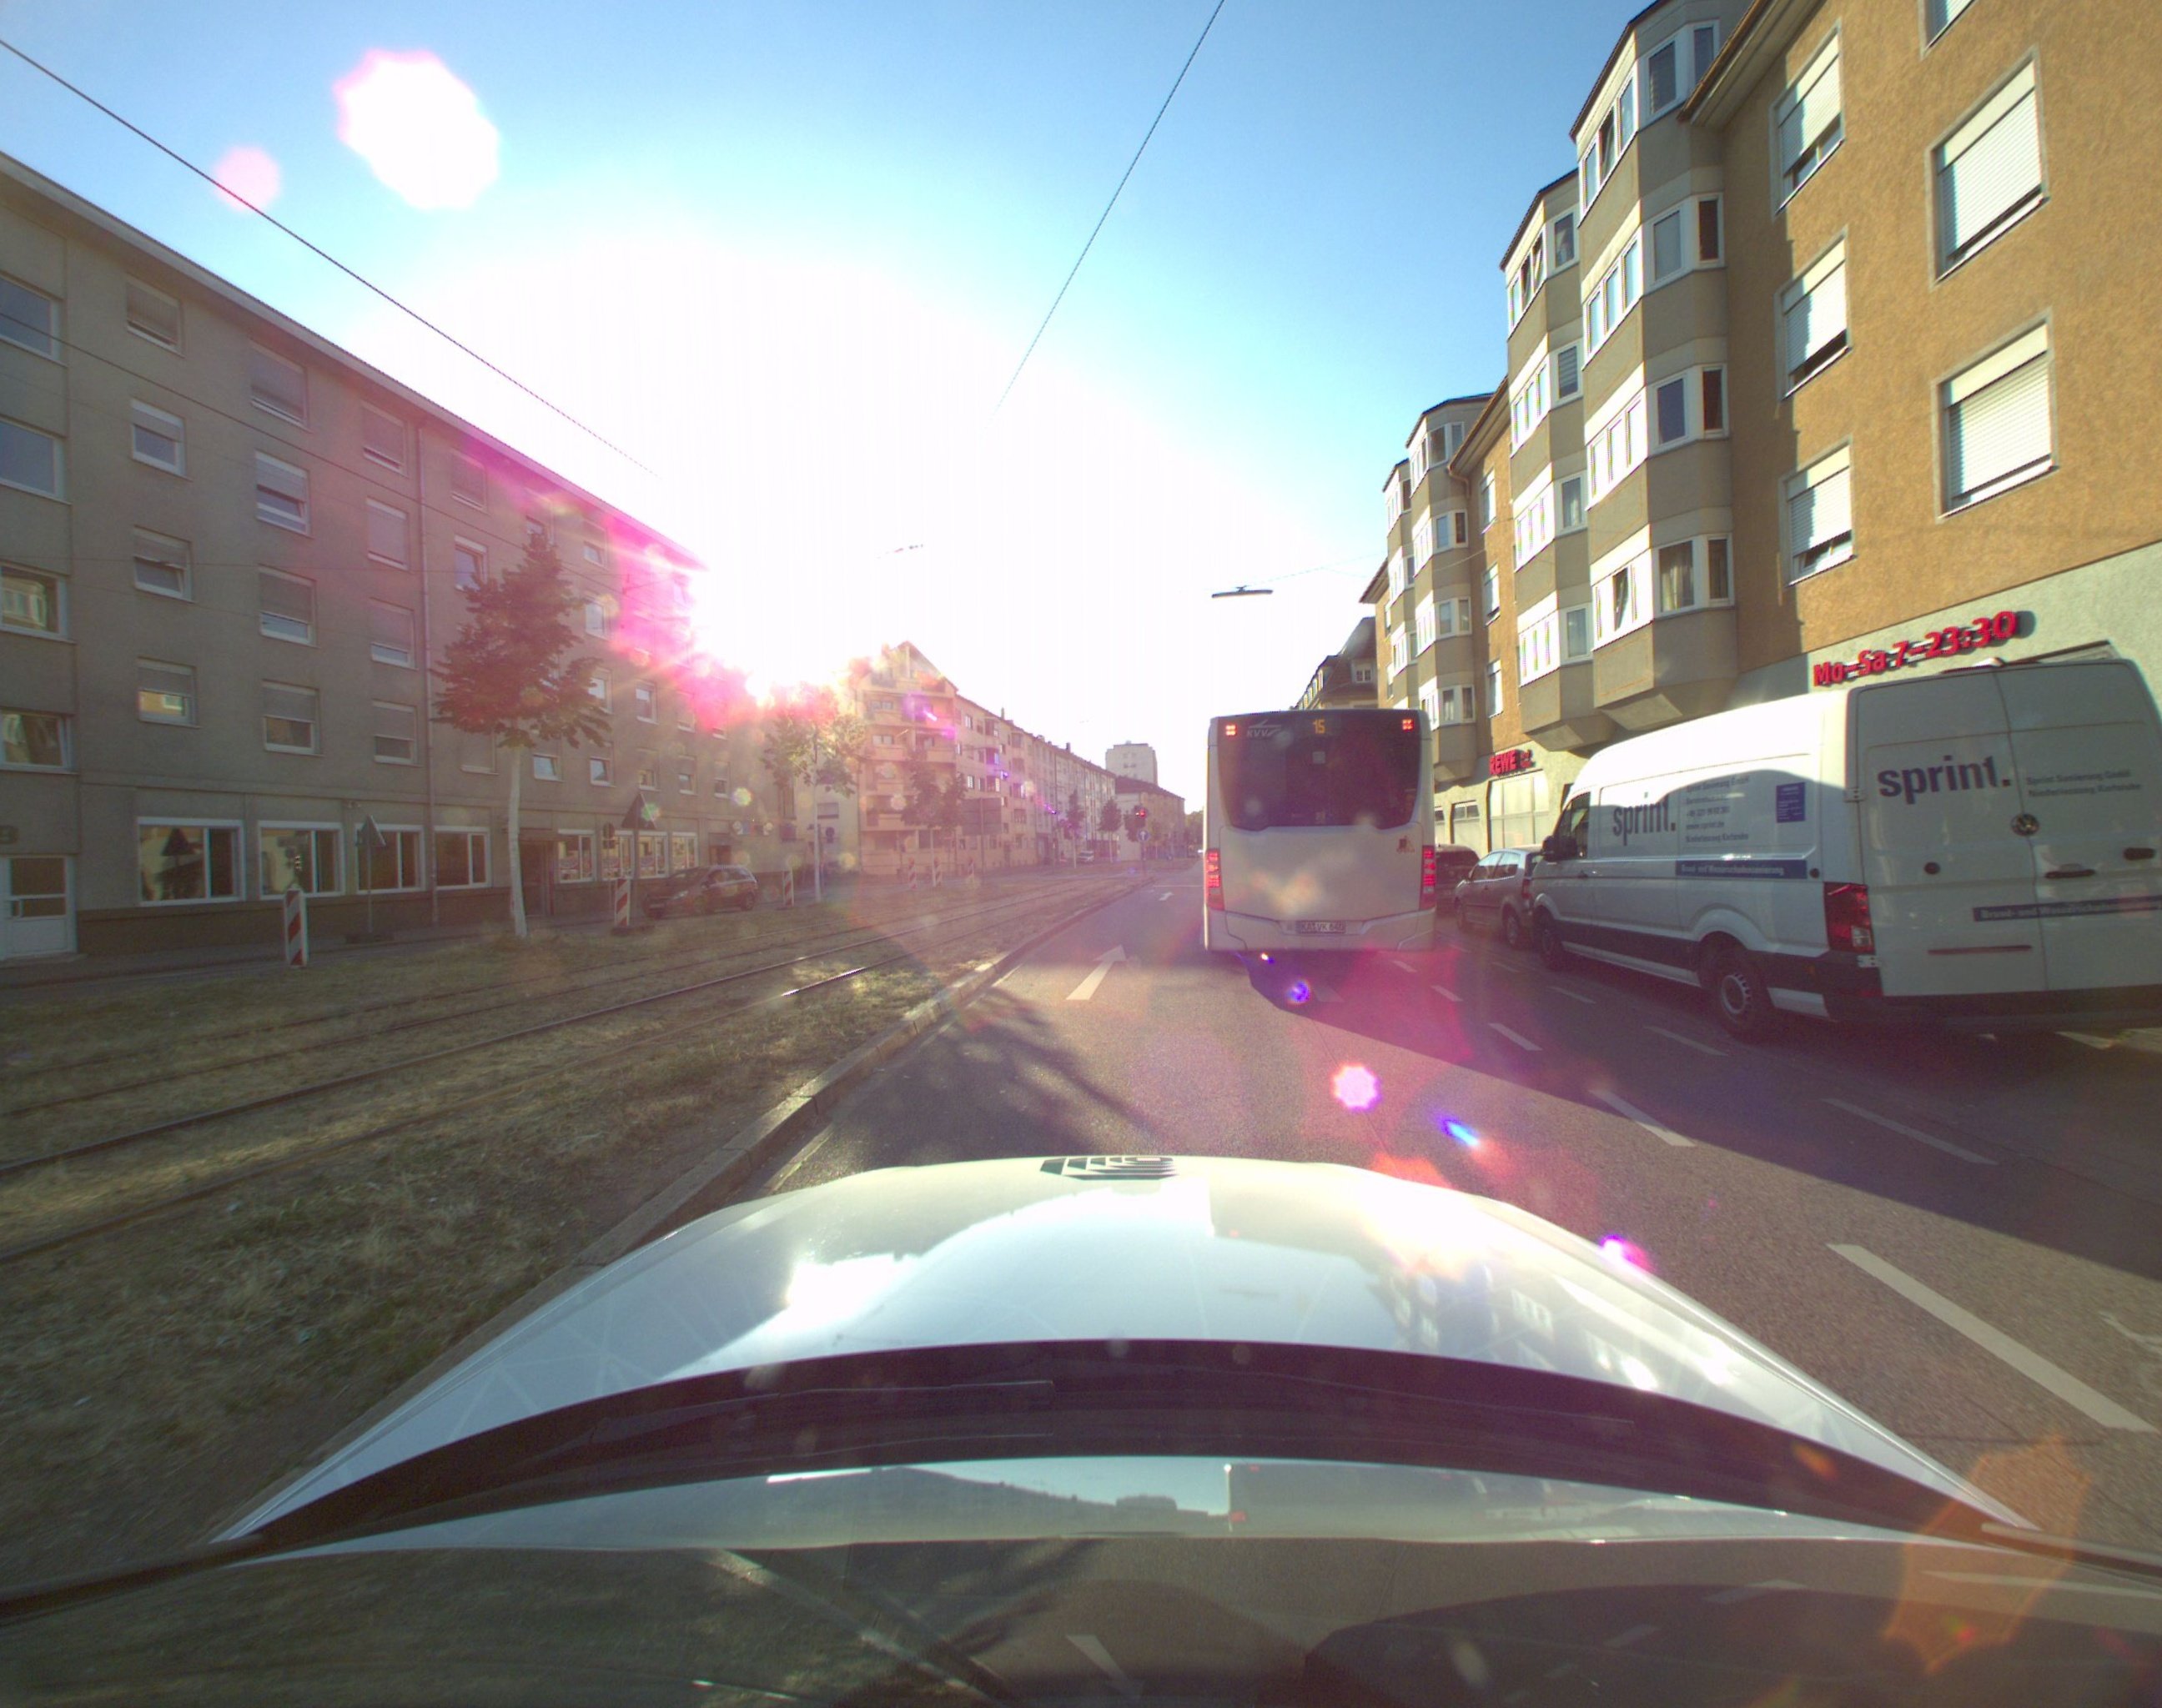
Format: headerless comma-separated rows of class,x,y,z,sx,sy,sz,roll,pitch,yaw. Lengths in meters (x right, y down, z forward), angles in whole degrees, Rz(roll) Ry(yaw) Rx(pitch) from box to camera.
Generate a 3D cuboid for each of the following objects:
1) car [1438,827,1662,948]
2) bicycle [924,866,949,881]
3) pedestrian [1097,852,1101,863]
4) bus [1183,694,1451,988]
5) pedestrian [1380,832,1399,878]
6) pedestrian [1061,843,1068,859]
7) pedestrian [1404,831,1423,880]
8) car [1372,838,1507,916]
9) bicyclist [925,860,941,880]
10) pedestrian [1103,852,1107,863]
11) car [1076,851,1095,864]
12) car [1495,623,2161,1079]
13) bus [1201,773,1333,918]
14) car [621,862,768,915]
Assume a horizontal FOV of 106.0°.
car,7.172,0.454,12.925,1.827,1.588,3.796,-2,0,10
bicycle,-10.568,1.418,59.723,0.522,0.984,1.895,-3,0,40
pedestrian,2.814,0.547,128.985,0.492,1.658,0.410,-2,0,10
bus,3.214,-0.149,13.042,2.722,3.056,8.877,-1,0,9
pedestrian,12.182,0.048,32.131,0.543,1.784,0.451,-2,0,9
pedestrian,-2.244,-0.396,108.979,0.782,2.013,0.892,-2,0,6
pedestrian,12.089,0.054,29.631,0.543,1.784,0.451,0,-1,9
car,8.101,0.458,18.806,1.827,1.536,4.241,-2,0,10
bicyclist,-10.809,1.160,59.504,0.522,1.447,0.971,-3,0,40
pedestrian,3.813,0.529,129.153,0.492,1.658,0.410,-2,0,10
car,0.690,0.484,115.285,1.800,1.797,4.258,-2,0,11
car,6.078,-0.010,7.687,2.005,2.551,5.800,-6,-1,9
bus,4.707,-0.199,21.901,2.722,3.056,9.155,-1,0,9
car,-12.615,1.062,27.039,1.800,1.560,4.949,0,0,11
